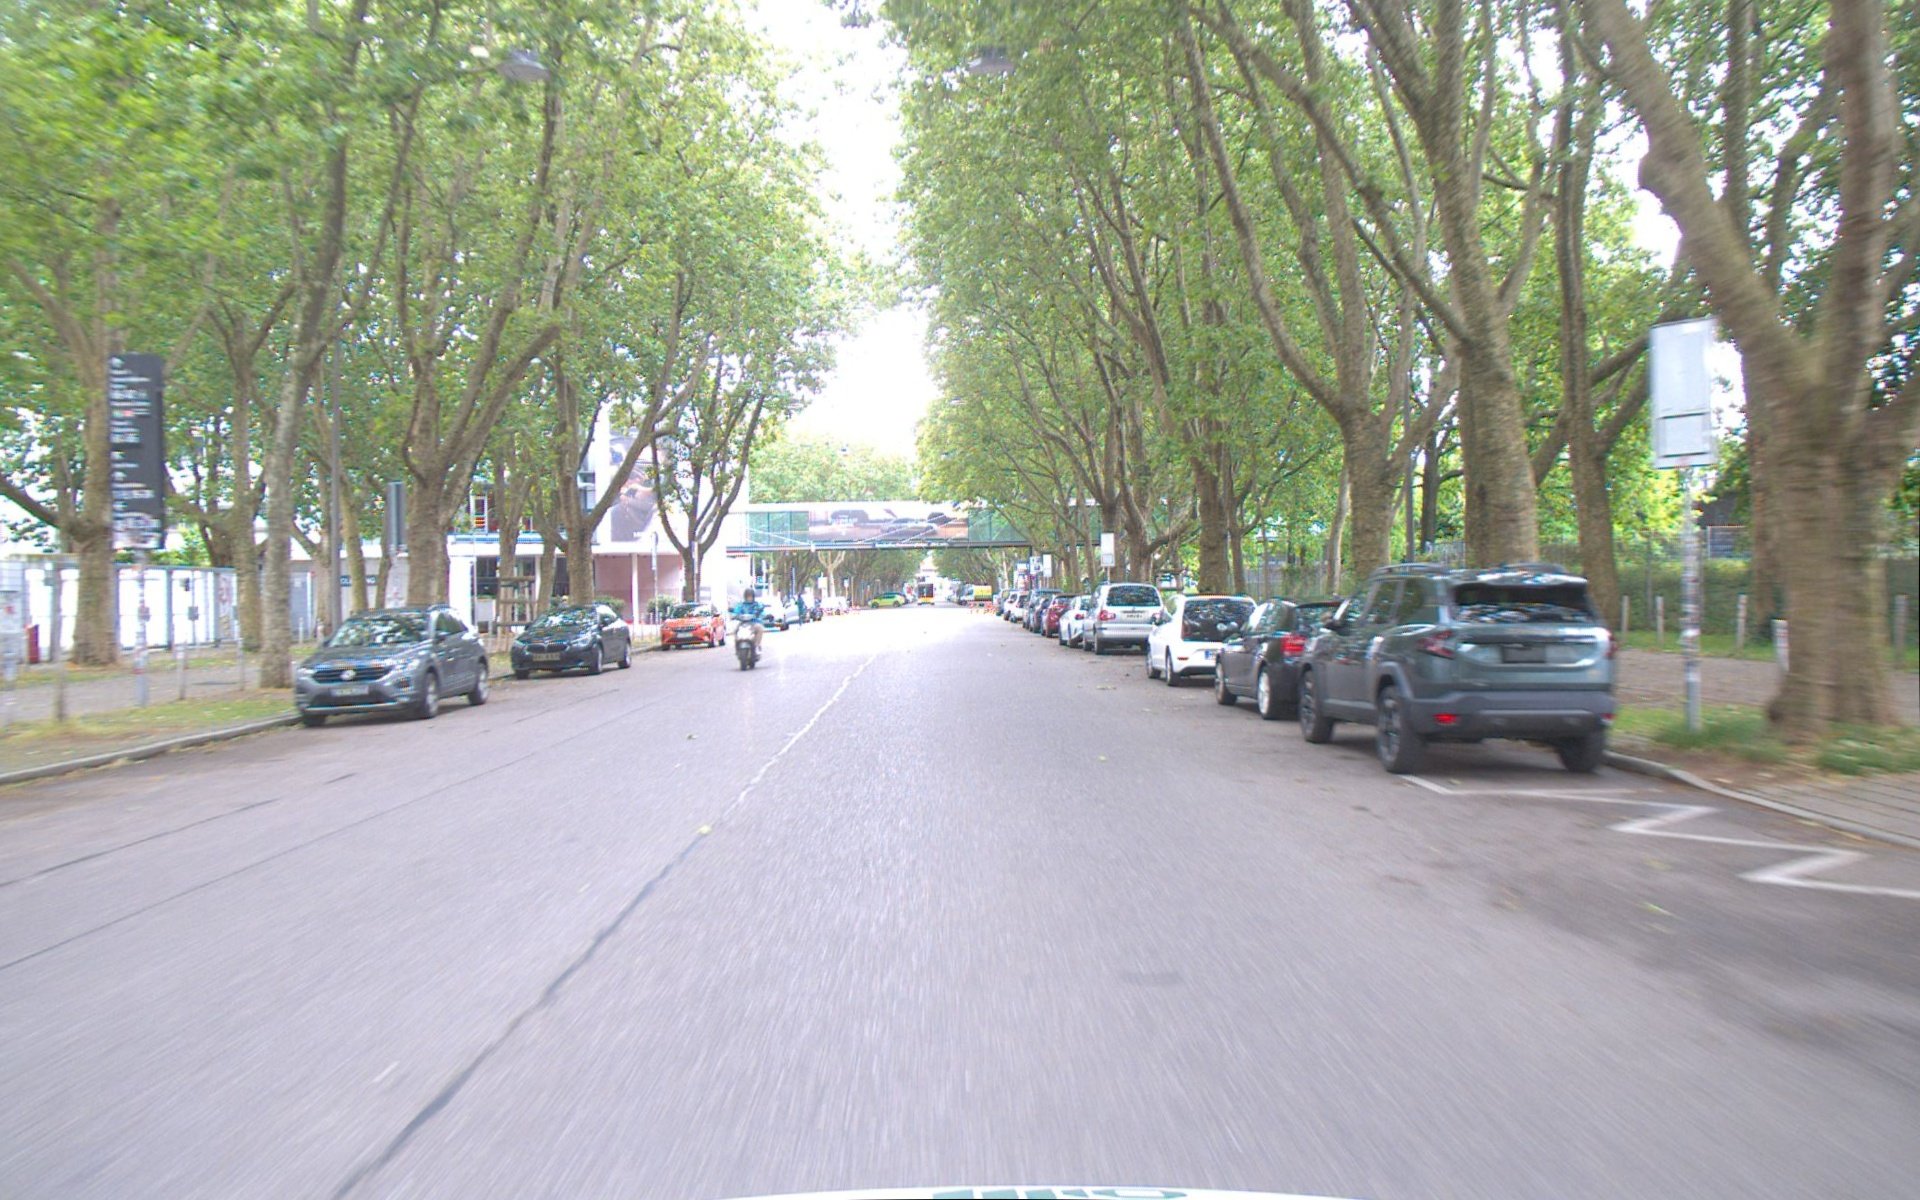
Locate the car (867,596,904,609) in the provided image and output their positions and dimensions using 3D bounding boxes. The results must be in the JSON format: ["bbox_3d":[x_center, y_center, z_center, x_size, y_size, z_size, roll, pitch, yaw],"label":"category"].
[{"bbox_3d":[-9.451,0.300,210.979,4.604,1.612,1.864,-1,0,0],"label":"car"}]

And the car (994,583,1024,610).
[{"bbox_3d":[3.256,-0.227,110.838,1.810,1.814,5.210,0,0,-1],"label":"car"}]

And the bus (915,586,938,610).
[{"bbox_3d":[-4.822,-0.281,234.910,2.977,3.215,12.672,-3,0,-1],"label":"bus"}]

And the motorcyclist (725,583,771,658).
[{"bbox_3d":[-4.346,0.413,33.969,0.853,1.506,1.264,-1,0,-4],"label":"motorcyclist"}]

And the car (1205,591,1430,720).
[{"bbox_3d":[4.345,0.612,20.781,1.673,1.440,4.358,0,0,-3],"label":"car"}]

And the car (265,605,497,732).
[{"bbox_3d":[-8.138,0.905,23.656,1.840,1.553,4.150,-2,0,-1],"label":"car"}]

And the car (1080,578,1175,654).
[{"bbox_3d":[4.144,0.382,41.612,1.864,1.769,4.505,-1,0,-1],"label":"car"}]

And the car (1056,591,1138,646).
[{"bbox_3d":[3.843,0.502,47.035,1.839,1.452,4.584,-1,0,-2],"label":"car"}]

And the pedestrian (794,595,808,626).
[{"bbox_3d":[-7.582,0.492,78.864,0.571,1.492,0.567,0,0,3],"label":"pedestrian"}]

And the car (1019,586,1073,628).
[{"bbox_3d":[3.712,0.306,71.934,1.941,1.709,4.730,-1,0,-2],"label":"car"}]

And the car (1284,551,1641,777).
[{"bbox_3d":[4.316,0.486,15.009,1.673,1.728,4.629,0,0,-2],"label":"car"}]

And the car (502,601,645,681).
[{"bbox_3d":[-8.135,0.815,35.239,1.789,1.491,4.628,-2,0,1],"label":"car"}]

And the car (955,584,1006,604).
[{"bbox_3d":[2.734,-0.821,221.160,6.687,2.557,2.315,-1,0,-3],"label":"car"}]

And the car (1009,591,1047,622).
[{"bbox_3d":[3.561,0.363,86.627,1.771,1.553,4.095,-1,0,0],"label":"car"}]

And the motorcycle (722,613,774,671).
[{"bbox_3d":[-4.338,0.841,34.036,0.856,1.098,3.050,-1,0,-4],"label":"motorcycle"}]

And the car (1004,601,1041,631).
[{"bbox_3d":[3.563,0.913,94.501,1.875,1.646,4.748,-1,0,0],"label":"car"}]

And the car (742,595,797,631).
[{"bbox_3d":[-8.890,0.596,77.669,2.031,1.590,4.755,-1,0,0],"label":"car"}]

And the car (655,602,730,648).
[{"bbox_3d":[-8.571,0.769,53.289,1.771,1.378,4.000,-1,0,0],"label":"car"}]

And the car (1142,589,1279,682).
[{"bbox_3d":[4.132,0.554,27.849,1.672,1.452,3.888,0,0,-1],"label":"car"}]

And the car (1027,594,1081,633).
[{"bbox_3d":[3.661,0.511,65.033,1.838,1.452,4.479,-1,0,0],"label":"car"}]

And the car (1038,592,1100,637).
[{"bbox_3d":[3.795,0.502,58.362,1.819,1.507,4.176,-1,0,-1],"label":"car"}]

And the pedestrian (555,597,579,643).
[{"bbox_3d":[-14.360,0.720,60.426,0.580,1.648,0.792,-1,0,8],"label":"pedestrian"}]
